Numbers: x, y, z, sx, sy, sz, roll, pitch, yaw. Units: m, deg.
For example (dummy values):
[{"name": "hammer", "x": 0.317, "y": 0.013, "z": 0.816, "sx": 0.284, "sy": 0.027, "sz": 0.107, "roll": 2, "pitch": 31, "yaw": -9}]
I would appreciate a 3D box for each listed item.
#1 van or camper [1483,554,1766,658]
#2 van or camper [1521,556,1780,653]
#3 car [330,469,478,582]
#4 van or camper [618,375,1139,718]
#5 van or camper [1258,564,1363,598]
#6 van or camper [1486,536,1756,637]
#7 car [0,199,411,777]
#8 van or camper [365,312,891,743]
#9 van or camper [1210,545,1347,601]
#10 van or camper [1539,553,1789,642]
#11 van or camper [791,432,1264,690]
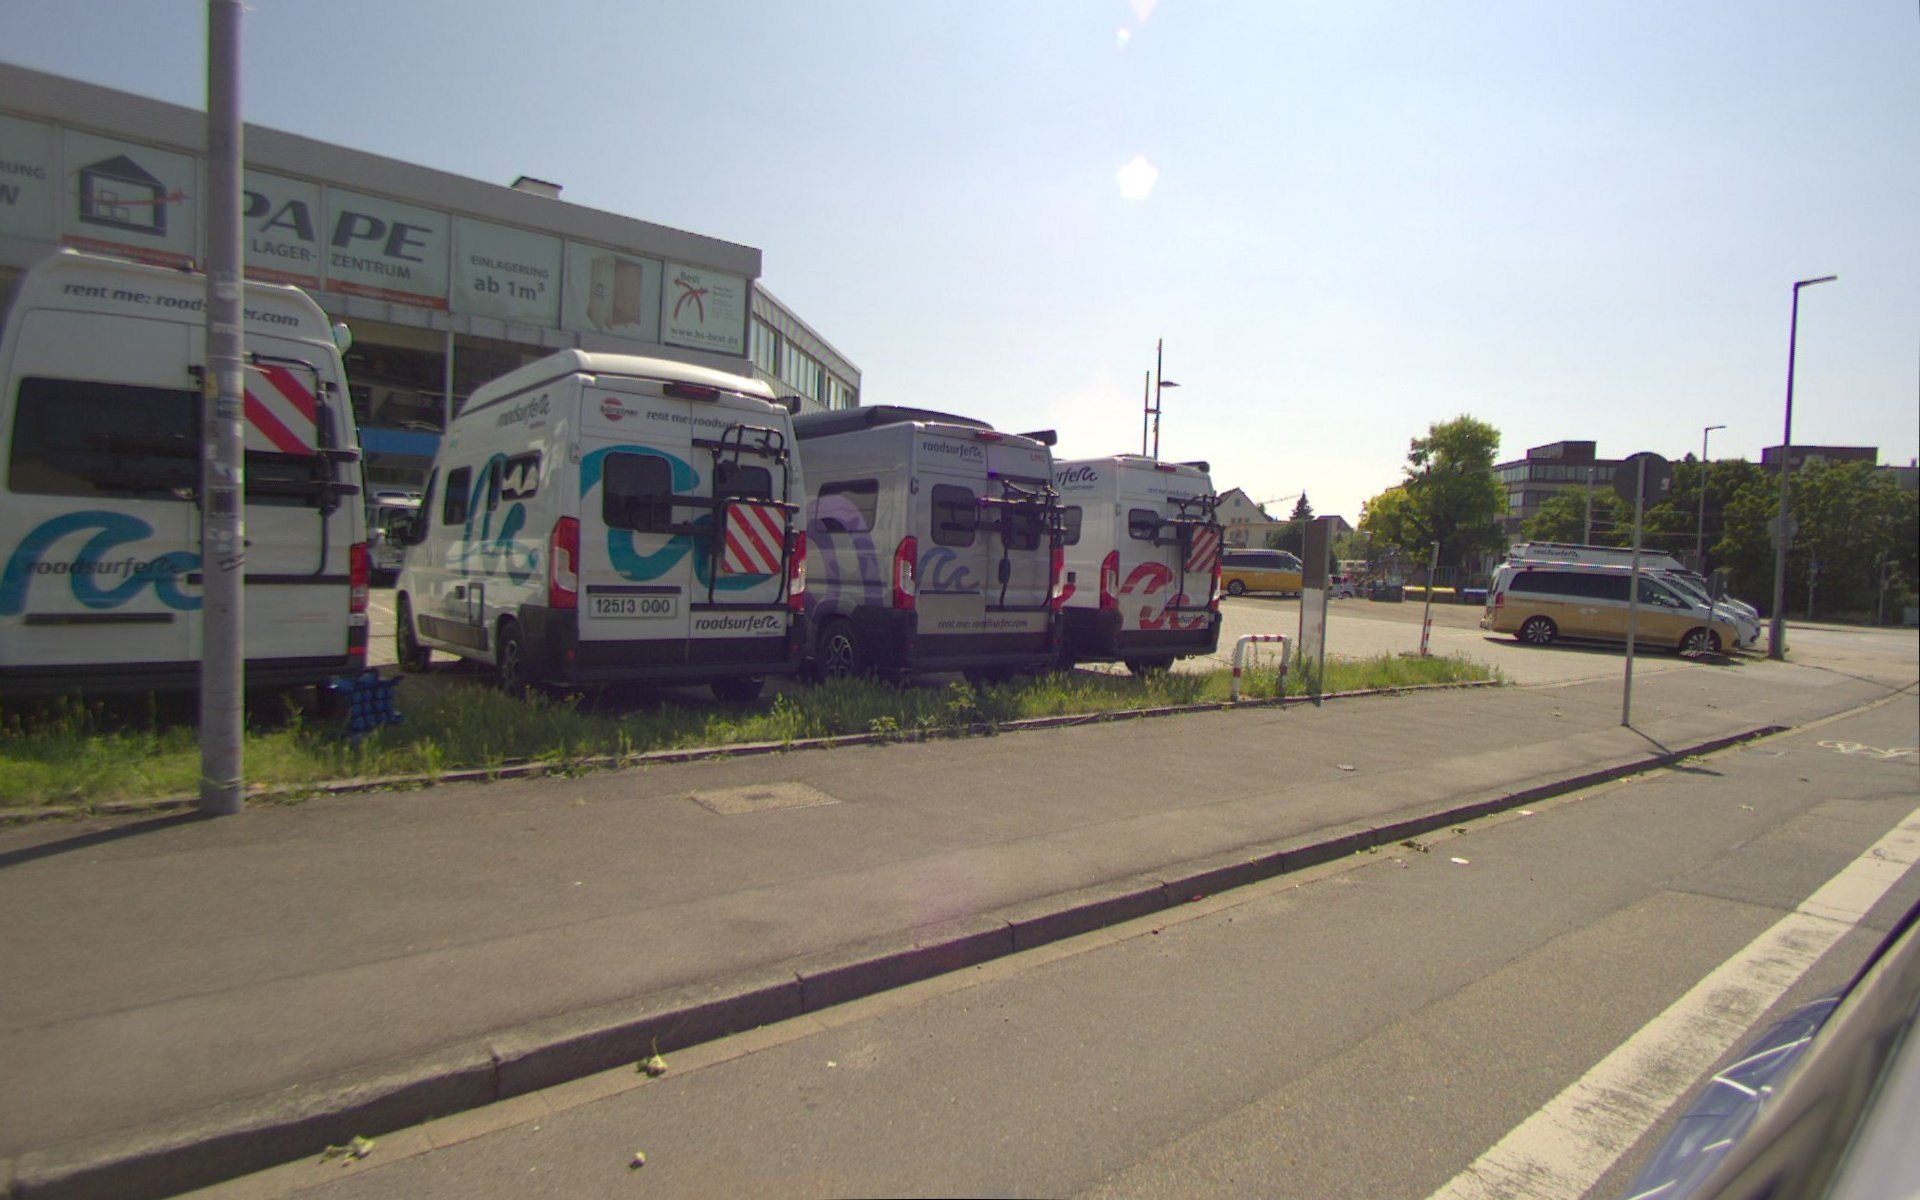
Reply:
[{"name": "van or camper", "x": 15.317, "y": 0.053, "z": 23.718, "sx": 5.075, "sy": 1.984, "sz": 1.974, "roll": 4, "pitch": 4, "yaw": 21}, {"name": "van or camper", "x": 17.299, "y": 0.037, "z": 25.702, "sx": 4.922, "sy": 2.070, "sz": 2.029, "roll": 4, "pitch": 3, "yaw": 21}, {"name": "car", "x": -14.003, "y": -1.830, "z": 25.303, "sx": 2.284, "sy": 2.448, "sz": 5.311, "roll": 1, "pitch": 3, "yaw": -39}, {"name": "van or camper", "x": -1.350, "y": -0.596, "z": 11.442, "sx": 2.663, "sy": 2.749, "sz": 6.366, "roll": 1, "pitch": 3, "yaw": -39}, {"name": "van or camper", "x": 19.915, "y": -1.104, "z": 57.714, "sx": 5.339, "sy": 1.631, "sz": 2.285, "roll": 3, "pitch": 2, "yaw": 13}, {"name": "van or camper", "x": 19.978, "y": -0.462, "z": 30.998, "sx": 6.273, "sy": 2.669, "sz": 2.522, "roll": 3, "pitch": 2, "yaw": 15}, {"name": "car", "x": -6.276, "y": -0.728, "z": 7.966, "sx": 2.278, "sy": 2.904, "sz": 6.245, "roll": 1, "pitch": 3, "yaw": -39}, {"name": "van or camper", "x": -3.630, "y": -0.626, "z": 9.748, "sx": 2.663, "sy": 2.733, "sz": 6.366, "roll": 1, "pitch": 3, "yaw": -39}, {"name": "van or camper", "x": 13.582, "y": -1.180, "z": 43.557, "sx": 5.339, "sy": 2.064, "sz": 2.285, "roll": 3, "pitch": 2, "yaw": 13}, {"name": "van or camper", "x": 19.321, "y": -0.122, "z": 28.134, "sx": 5.073, "sy": 2.101, "sz": 2.438, "roll": 3, "pitch": 2, "yaw": 19}, {"name": "van or camper", "x": 0.506, "y": -0.553, "z": 13.268, "sx": 2.572, "sy": 2.555, "sz": 6.212, "roll": 1, "pitch": 3, "yaw": -39}]
